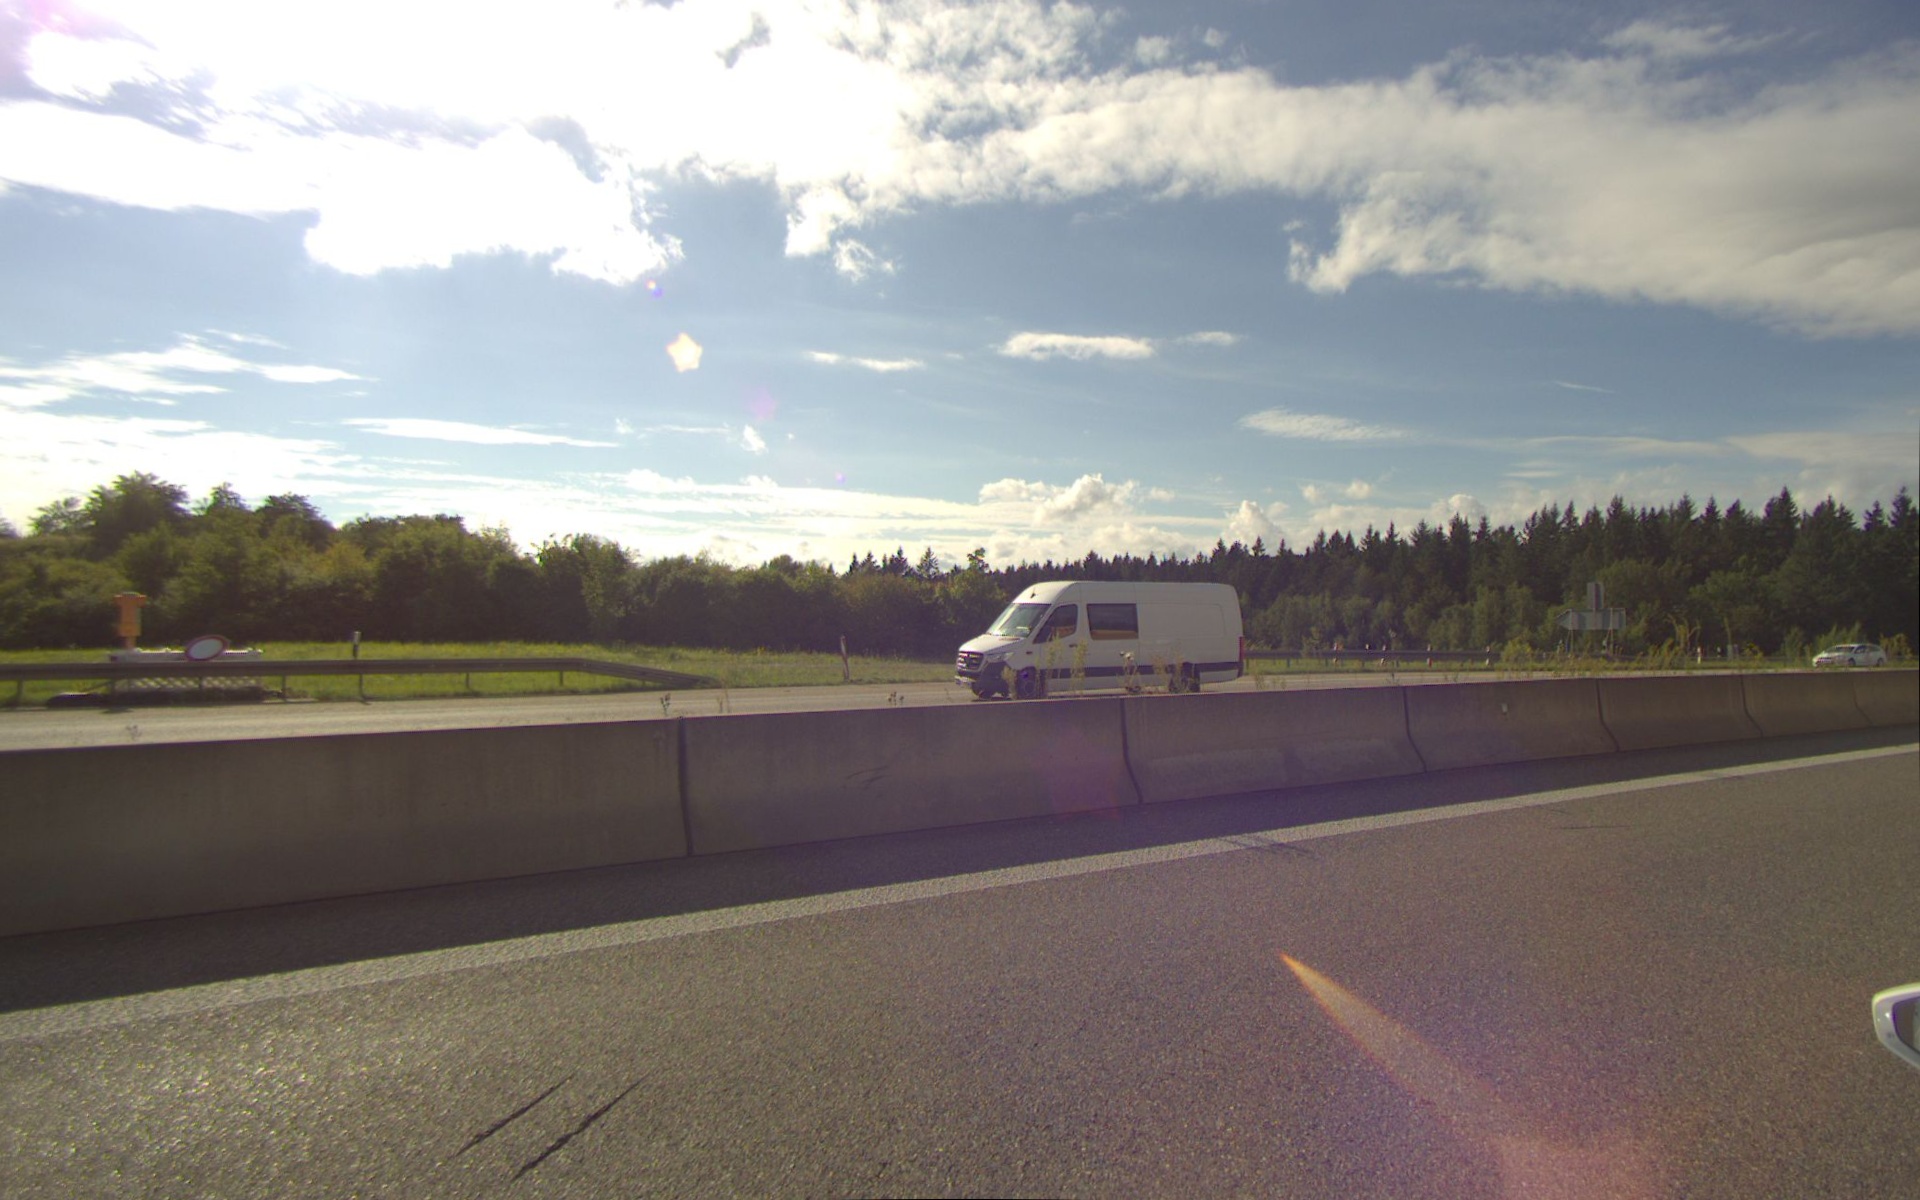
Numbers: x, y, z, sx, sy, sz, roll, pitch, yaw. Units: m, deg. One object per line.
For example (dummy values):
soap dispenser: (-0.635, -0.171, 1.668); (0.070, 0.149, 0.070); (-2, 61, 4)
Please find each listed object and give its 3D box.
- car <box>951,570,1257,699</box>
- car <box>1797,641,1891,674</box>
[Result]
car: (3.435, 0.770, 22.958); (7.237, 2.613, 2.023); (2, 0, -31)
car: (53.360, 3.456, 60.635); (4.897, 1.824, 1.992); (2, 0, -17)
